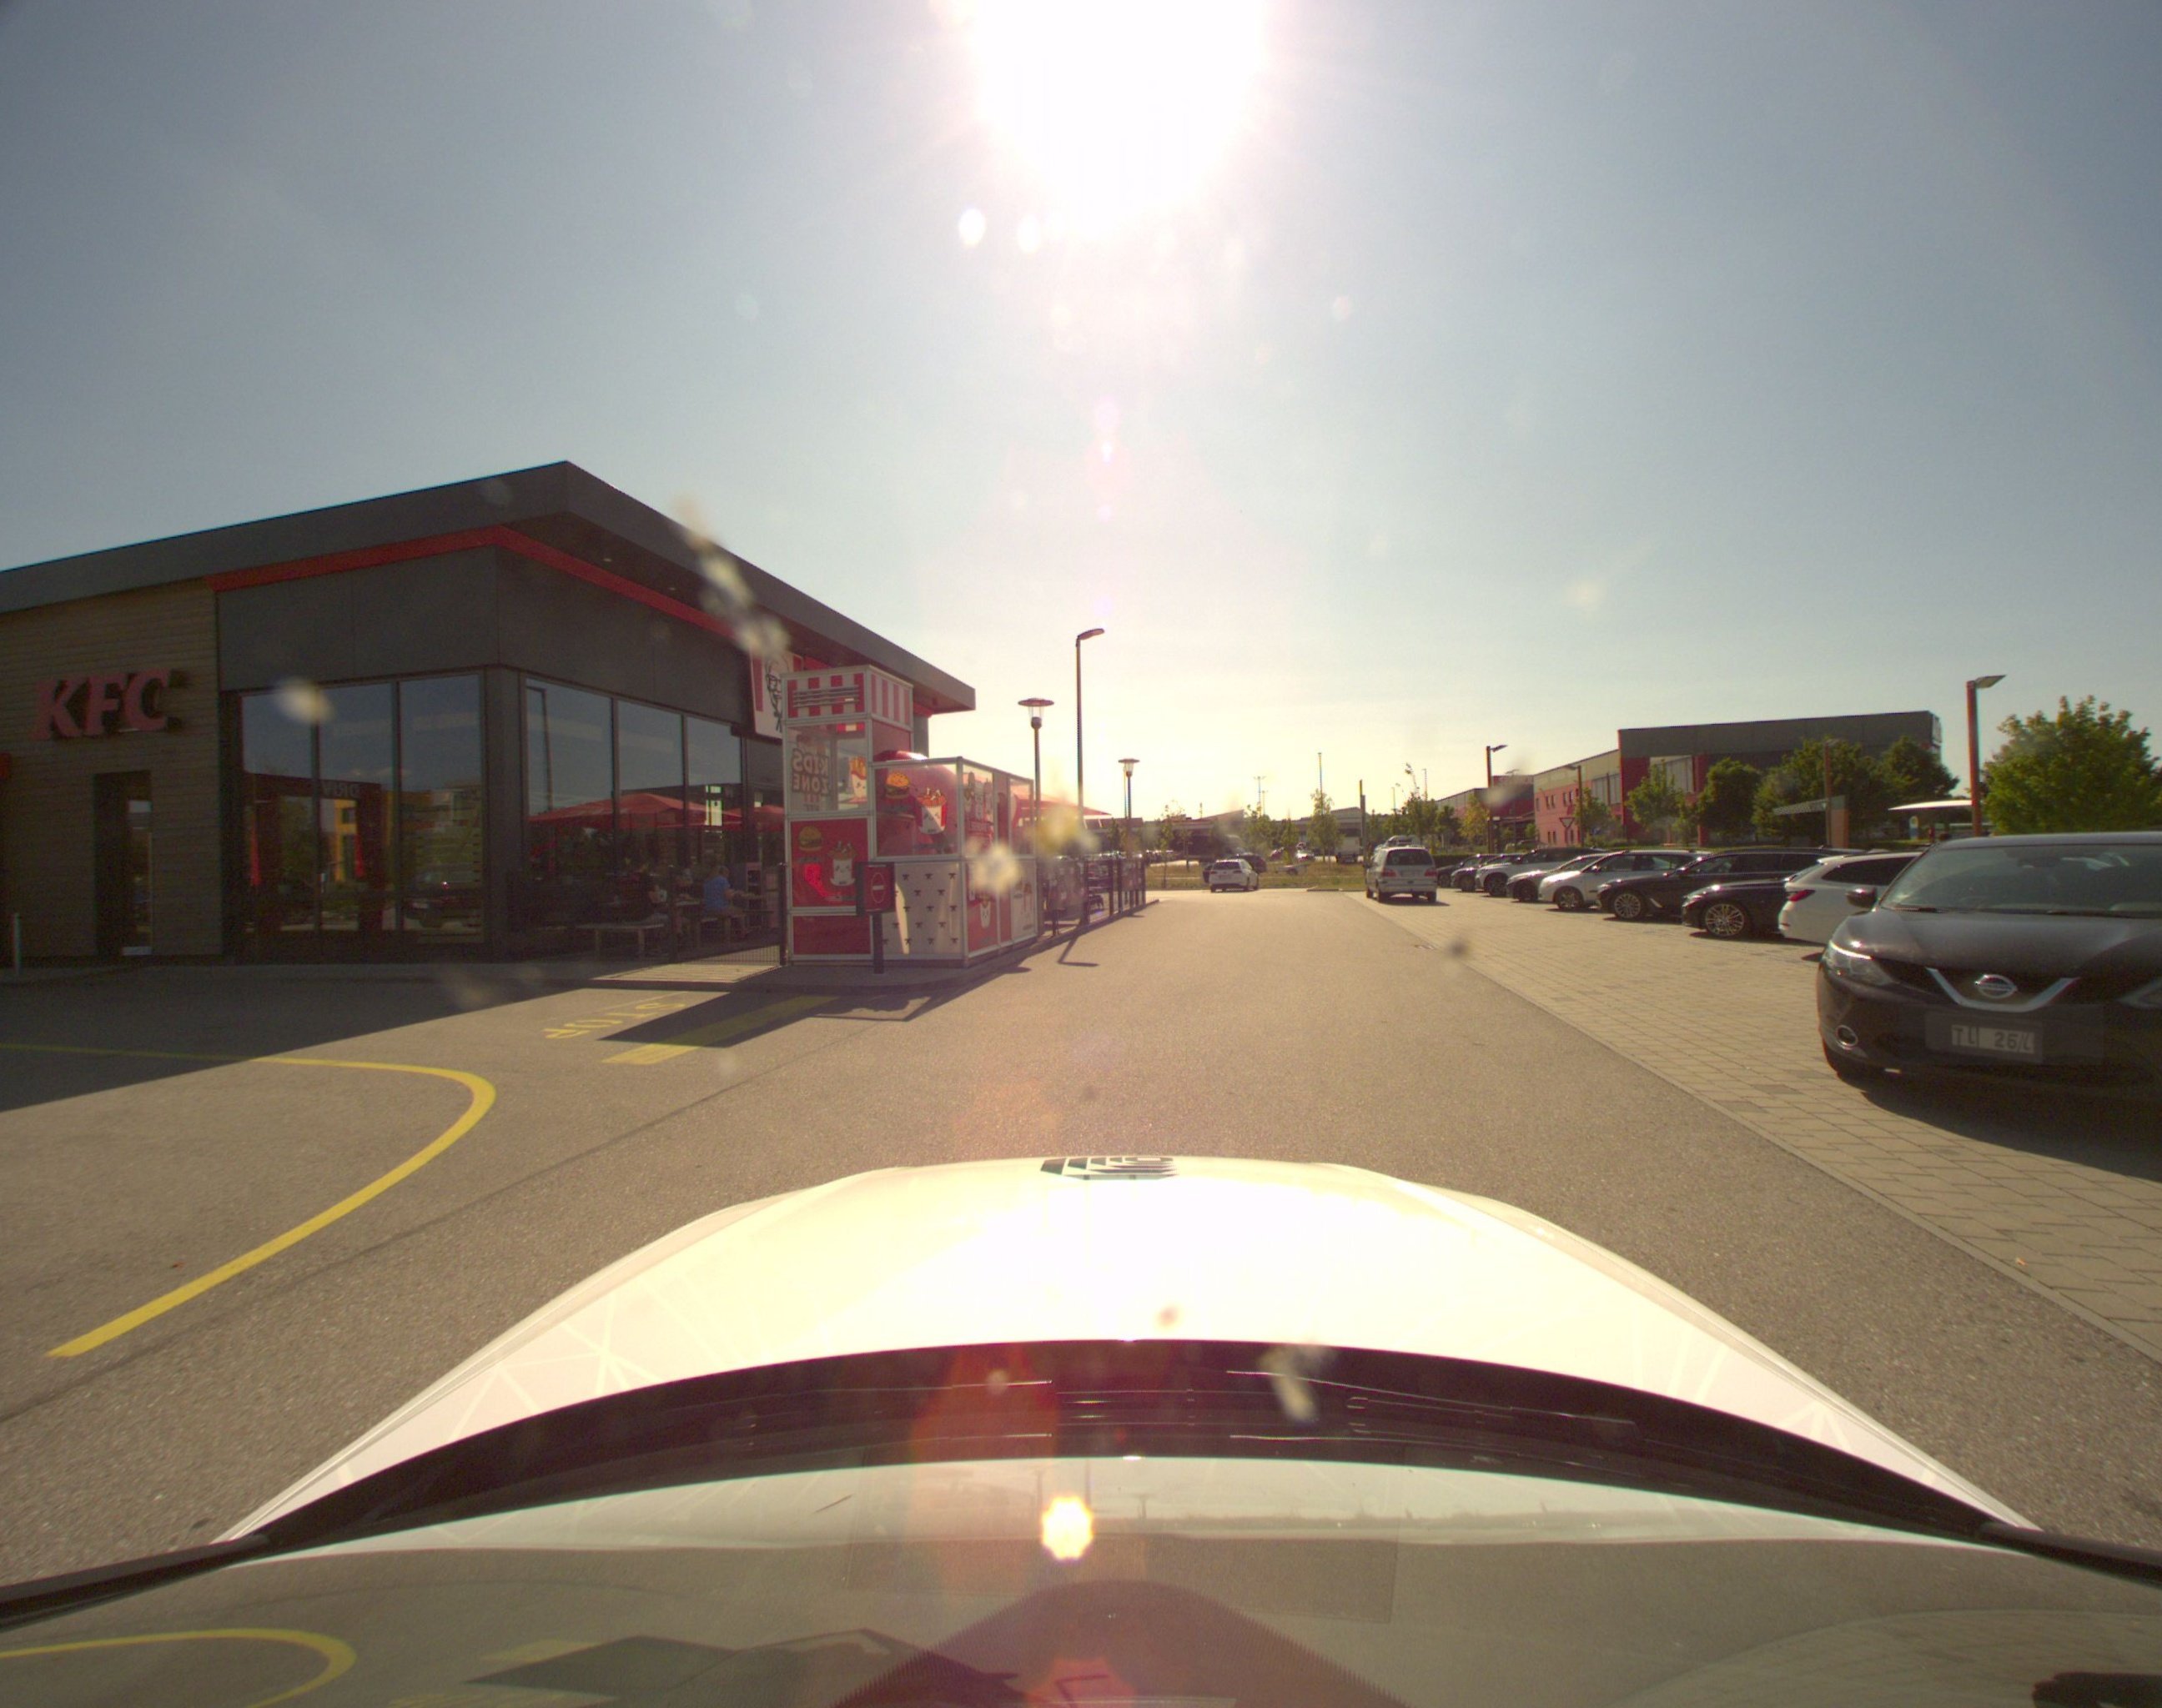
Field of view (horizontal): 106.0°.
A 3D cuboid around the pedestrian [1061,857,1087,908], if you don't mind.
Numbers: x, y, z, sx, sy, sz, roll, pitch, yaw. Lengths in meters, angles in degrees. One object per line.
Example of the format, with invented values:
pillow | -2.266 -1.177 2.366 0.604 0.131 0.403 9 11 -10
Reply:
pedestrian | -0.177 0.724 20.854 0.610 1.273 0.623 -1 0 -4

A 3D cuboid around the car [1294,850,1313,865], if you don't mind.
car | 22.303 0.304 81.678 1.637 1.459 3.985 -1 0 18

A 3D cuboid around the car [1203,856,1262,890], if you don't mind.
car | 7.154 0.889 38.097 1.811 1.469 4.505 -2 -2 22

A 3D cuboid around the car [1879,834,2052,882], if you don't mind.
car | 33.893 0.152 31.328 4.198 1.691 2.002 -1 0 8

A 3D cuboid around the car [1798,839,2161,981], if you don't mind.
car | 11.532 0.572 9.425 1.844 1.459 4.535 -1 0 -35

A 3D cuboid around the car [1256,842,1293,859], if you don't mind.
car | 22.555 -0.404 94.964 4.224 1.855 1.876 -1 0 12

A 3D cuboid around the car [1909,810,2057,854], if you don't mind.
car | 48.087 -1.134 43.555 5.053 2.197 2.007 -1 0 13

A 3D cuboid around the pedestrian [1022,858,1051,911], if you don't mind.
pedestrian | -1.095 0.737 20.085 0.682 1.273 0.550 -1 0 -4

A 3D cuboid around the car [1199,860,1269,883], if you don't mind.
car | 12.065 1.345 64.127 5.166 1.731 1.998 -1 0 16

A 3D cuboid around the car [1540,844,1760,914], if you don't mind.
car | 13.754 0.563 19.809 4.154 1.526 1.987 -1 0 42

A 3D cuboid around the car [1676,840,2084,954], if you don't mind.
car | 12.221 0.566 12.757 1.845 1.459 4.321 -1 0 -37

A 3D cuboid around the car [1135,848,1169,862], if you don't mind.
car | 9.930 0.200 113.879 4.360 1.855 1.962 -1 0 12

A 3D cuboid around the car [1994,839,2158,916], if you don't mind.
car | 21.638 0.457 17.684 4.129 1.493 1.694 -1 -1 -32

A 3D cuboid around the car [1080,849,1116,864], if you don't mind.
car | 2.176 0.330 105.750 4.360 1.855 1.962 -1 0 12

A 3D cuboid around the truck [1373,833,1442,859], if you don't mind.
truck | 37.014 -0.887 92.551 6.987 2.814 1.962 -1 0 12

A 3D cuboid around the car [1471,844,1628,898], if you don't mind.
car | 15.503 0.546 27.049 4.154 1.654 1.987 -1 0 42

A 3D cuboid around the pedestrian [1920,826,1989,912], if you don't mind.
pedestrian | 19.247 0.326 17.975 0.761 1.849 0.839 -1 0 26

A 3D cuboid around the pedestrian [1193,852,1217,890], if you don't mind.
pedestrian | 5.938 0.826 39.000 0.984 1.809 0.729 -2 -2 16

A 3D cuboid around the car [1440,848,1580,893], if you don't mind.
car | 15.989 0.594 30.506 1.986 1.526 4.157 -1 0 -40

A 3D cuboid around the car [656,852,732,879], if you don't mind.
car | -25.422 0.758 53.652 1.872 1.703 4.357 -2 -1 25

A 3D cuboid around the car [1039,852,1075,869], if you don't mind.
car | -2.731 0.768 93.958 1.974 1.855 4.313 -1 0 36

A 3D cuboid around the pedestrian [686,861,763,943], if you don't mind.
pedestrian | -5.978 0.785 13.688 0.747 1.312 0.948 -1 0 14

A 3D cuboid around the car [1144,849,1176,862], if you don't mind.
car | 11.648 0.181 119.633 4.360 1.855 1.962 -1 0 12

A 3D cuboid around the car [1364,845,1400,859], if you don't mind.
car | 41.243 -0.302 111.645 4.360 1.855 1.962 -1 0 12

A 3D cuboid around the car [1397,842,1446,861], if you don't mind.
car | 35.412 -0.250 84.758 4.360 1.855 1.962 -1 0 12

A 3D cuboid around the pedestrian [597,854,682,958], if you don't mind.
pedestrian | -6.301 0.722 11.645 0.790 1.443 0.696 -1 0 11

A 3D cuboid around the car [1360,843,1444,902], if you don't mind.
car | 10.449 0.566 26.825 1.815 1.748 4.699 -2 0 12

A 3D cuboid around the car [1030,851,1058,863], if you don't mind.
car | -6.244 0.492 136.643 4.360 1.855 1.962 -1 0 12

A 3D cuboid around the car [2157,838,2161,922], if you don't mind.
car | 21.814 0.427 15.126 4.129 1.515 1.795 -1 -1 -32

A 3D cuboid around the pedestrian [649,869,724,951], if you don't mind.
pedestrian | -6.044 0.840 12.506 0.747 1.200 0.697 -1 0 14

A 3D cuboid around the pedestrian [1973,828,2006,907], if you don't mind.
pedestrian | 20.827 0.310 18.673 0.555 1.768 0.462 -1 -1 -40

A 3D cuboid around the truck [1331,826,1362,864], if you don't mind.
truck | 26.109 -0.864 80.117 2.737 3.480 6.865 -1 0 18

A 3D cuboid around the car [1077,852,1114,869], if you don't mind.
car | 1.692 0.707 91.371 1.930 1.855 4.433 -1 0 36

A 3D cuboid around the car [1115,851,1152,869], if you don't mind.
car | 5.679 0.646 87.842 1.930 1.855 4.433 -1 0 36

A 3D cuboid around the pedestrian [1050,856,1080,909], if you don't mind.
pedestrian | -0.405 0.686 20.020 0.682 1.273 0.840 -1 0 -3

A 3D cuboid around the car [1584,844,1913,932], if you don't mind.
car | 13.101 0.593 16.318 1.984 1.486 4.732 -1 0 -35

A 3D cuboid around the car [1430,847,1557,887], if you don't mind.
car | 16.936 0.521 33.630 1.983 1.526 4.288 -2 0 -33

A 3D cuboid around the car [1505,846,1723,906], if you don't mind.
car | 14.952 0.579 23.110 1.985 1.526 4.790 -1 0 -39

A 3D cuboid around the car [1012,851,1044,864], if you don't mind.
car | -8.040 0.501 123.982 4.527 1.855 1.962 -1 0 12

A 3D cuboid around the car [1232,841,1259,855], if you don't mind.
car | 25.231 -0.939 124.982 3.957 2.013 2.008 -1 0 15

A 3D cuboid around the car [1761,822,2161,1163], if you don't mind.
car | 6.587 0.600 5.413 4.317 1.591 1.839 -2 0 -31

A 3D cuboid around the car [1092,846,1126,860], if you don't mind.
car | 3.894 -0.173 112.467 4.360 1.855 1.962 -1 0 12

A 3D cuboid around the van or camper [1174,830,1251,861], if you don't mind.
van or camper | 13.613 -0.824 84.889 2.433 3.101 7.956 -1 0 -44

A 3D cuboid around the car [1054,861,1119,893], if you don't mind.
car | 0.350 1.147 40.850 1.811 1.469 4.375 -2 -2 21

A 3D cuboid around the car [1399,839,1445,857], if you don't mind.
car | 37.507 -0.671 89.700 4.360 1.855 1.962 -1 0 12
